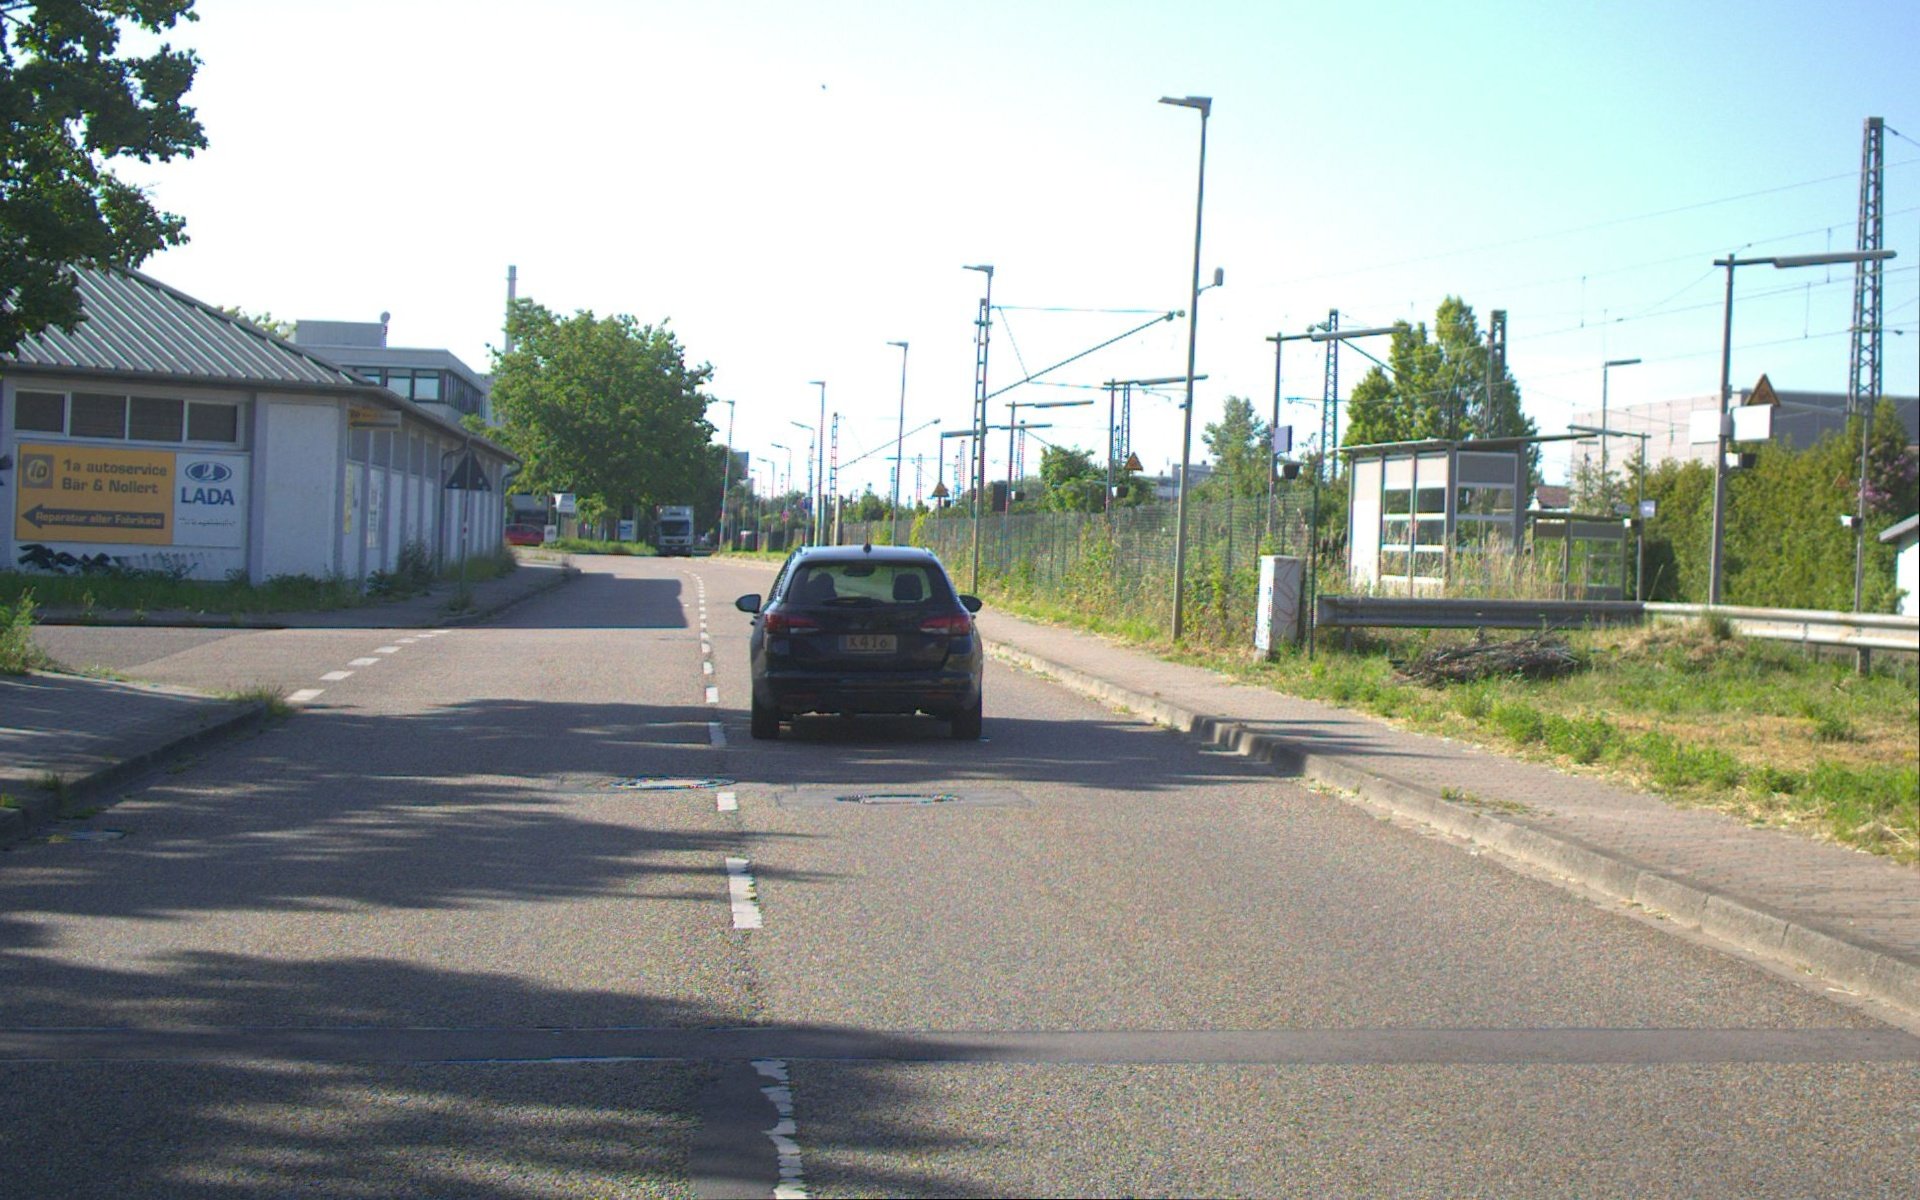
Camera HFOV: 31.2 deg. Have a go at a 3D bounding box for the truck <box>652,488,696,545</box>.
[{"bbox_3d":[-20.730,-6.009,248.636,2.612,3.872,13.535,3,1,-6],"label":"truck"}]

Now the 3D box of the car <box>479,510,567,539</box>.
[{"bbox_3d":[-25.893,-4.474,203.968,4.910,1.479,2.000,2,2,0],"label":"car"}]

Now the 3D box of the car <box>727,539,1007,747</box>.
[{"bbox_3d":[-0.831,0.278,27.342,1.942,1.483,4.566,1,1,-5],"label":"car"}]
